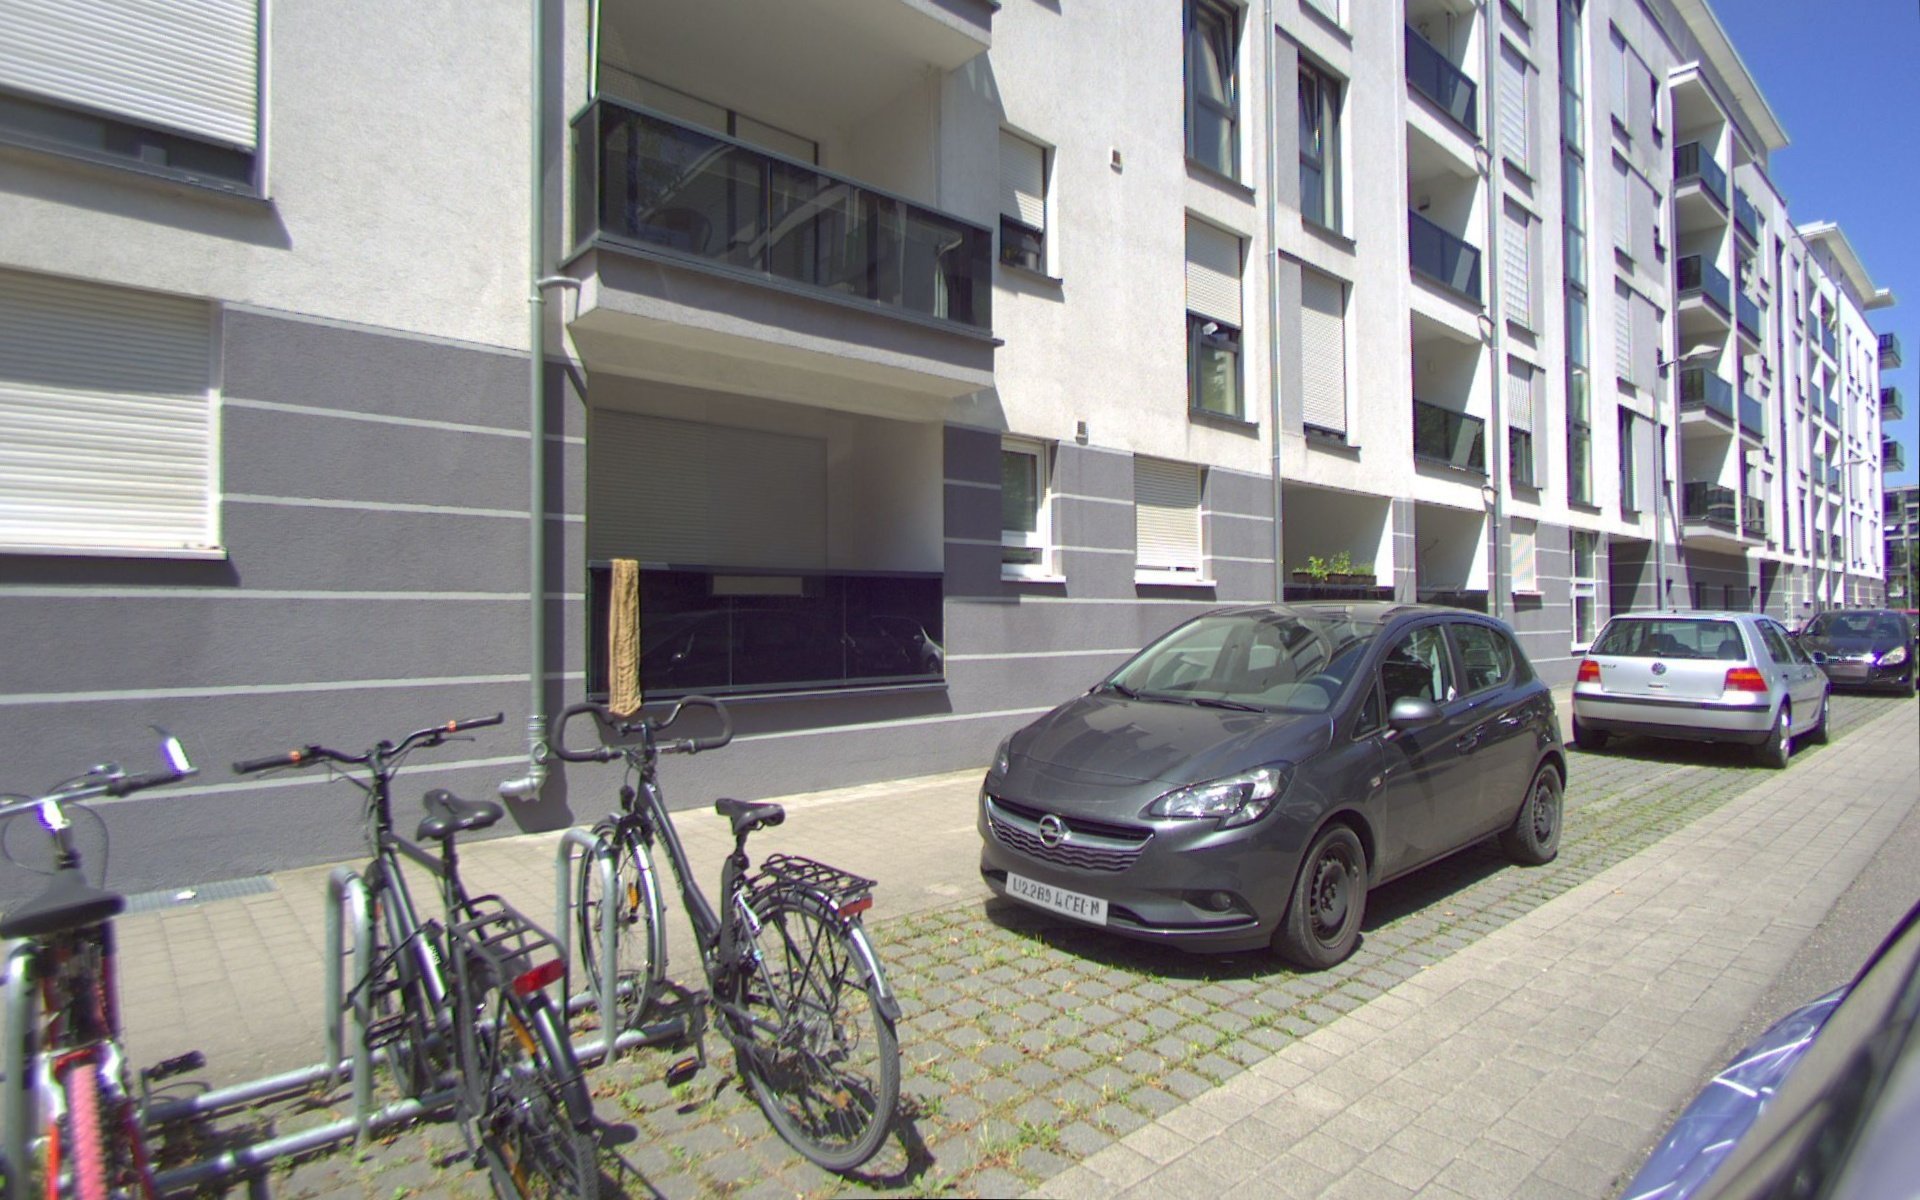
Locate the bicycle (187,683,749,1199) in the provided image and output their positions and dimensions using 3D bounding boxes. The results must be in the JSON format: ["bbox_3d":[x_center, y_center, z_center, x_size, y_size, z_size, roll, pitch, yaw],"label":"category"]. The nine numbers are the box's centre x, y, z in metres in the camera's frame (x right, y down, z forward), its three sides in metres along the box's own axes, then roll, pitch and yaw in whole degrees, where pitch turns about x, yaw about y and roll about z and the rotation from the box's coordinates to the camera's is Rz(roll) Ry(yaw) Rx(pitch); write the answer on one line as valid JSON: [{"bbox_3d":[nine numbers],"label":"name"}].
[{"bbox_3d":[-1.333,0.843,2.529,0.735,1.118,1.787,0,0,-44],"label":"bicycle"}]

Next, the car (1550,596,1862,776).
[{"bbox_3d":[8.052,0.744,10.771,4.275,1.524,1.837,0,0,-42],"label":"car"}]

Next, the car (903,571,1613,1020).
[{"bbox_3d":[1.856,0.665,5.442,4.155,1.504,1.741,0,0,-42],"label":"car"}]

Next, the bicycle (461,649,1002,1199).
[{"bbox_3d":[-0.794,0.811,3.028,0.704,1.233,1.871,1,0,-44],"label":"bicycle"}]

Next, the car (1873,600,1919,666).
[{"bbox_3d":[23.559,0.777,24.621,3.612,1.504,1.598,0,0,-42],"label":"car"}]

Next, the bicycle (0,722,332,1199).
[{"bbox_3d":[-1.873,0.889,2.111,0.550,1.048,1.924,1,0,-44],"label":"bicycle"}]

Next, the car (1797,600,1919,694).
[{"bbox_3d":[16.448,0.767,18.170,4.047,1.481,1.645,0,0,-42],"label":"car"}]

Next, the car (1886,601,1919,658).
[{"bbox_3d":[27.468,0.799,28.417,4.184,1.506,1.740,0,0,-42],"label":"car"}]
